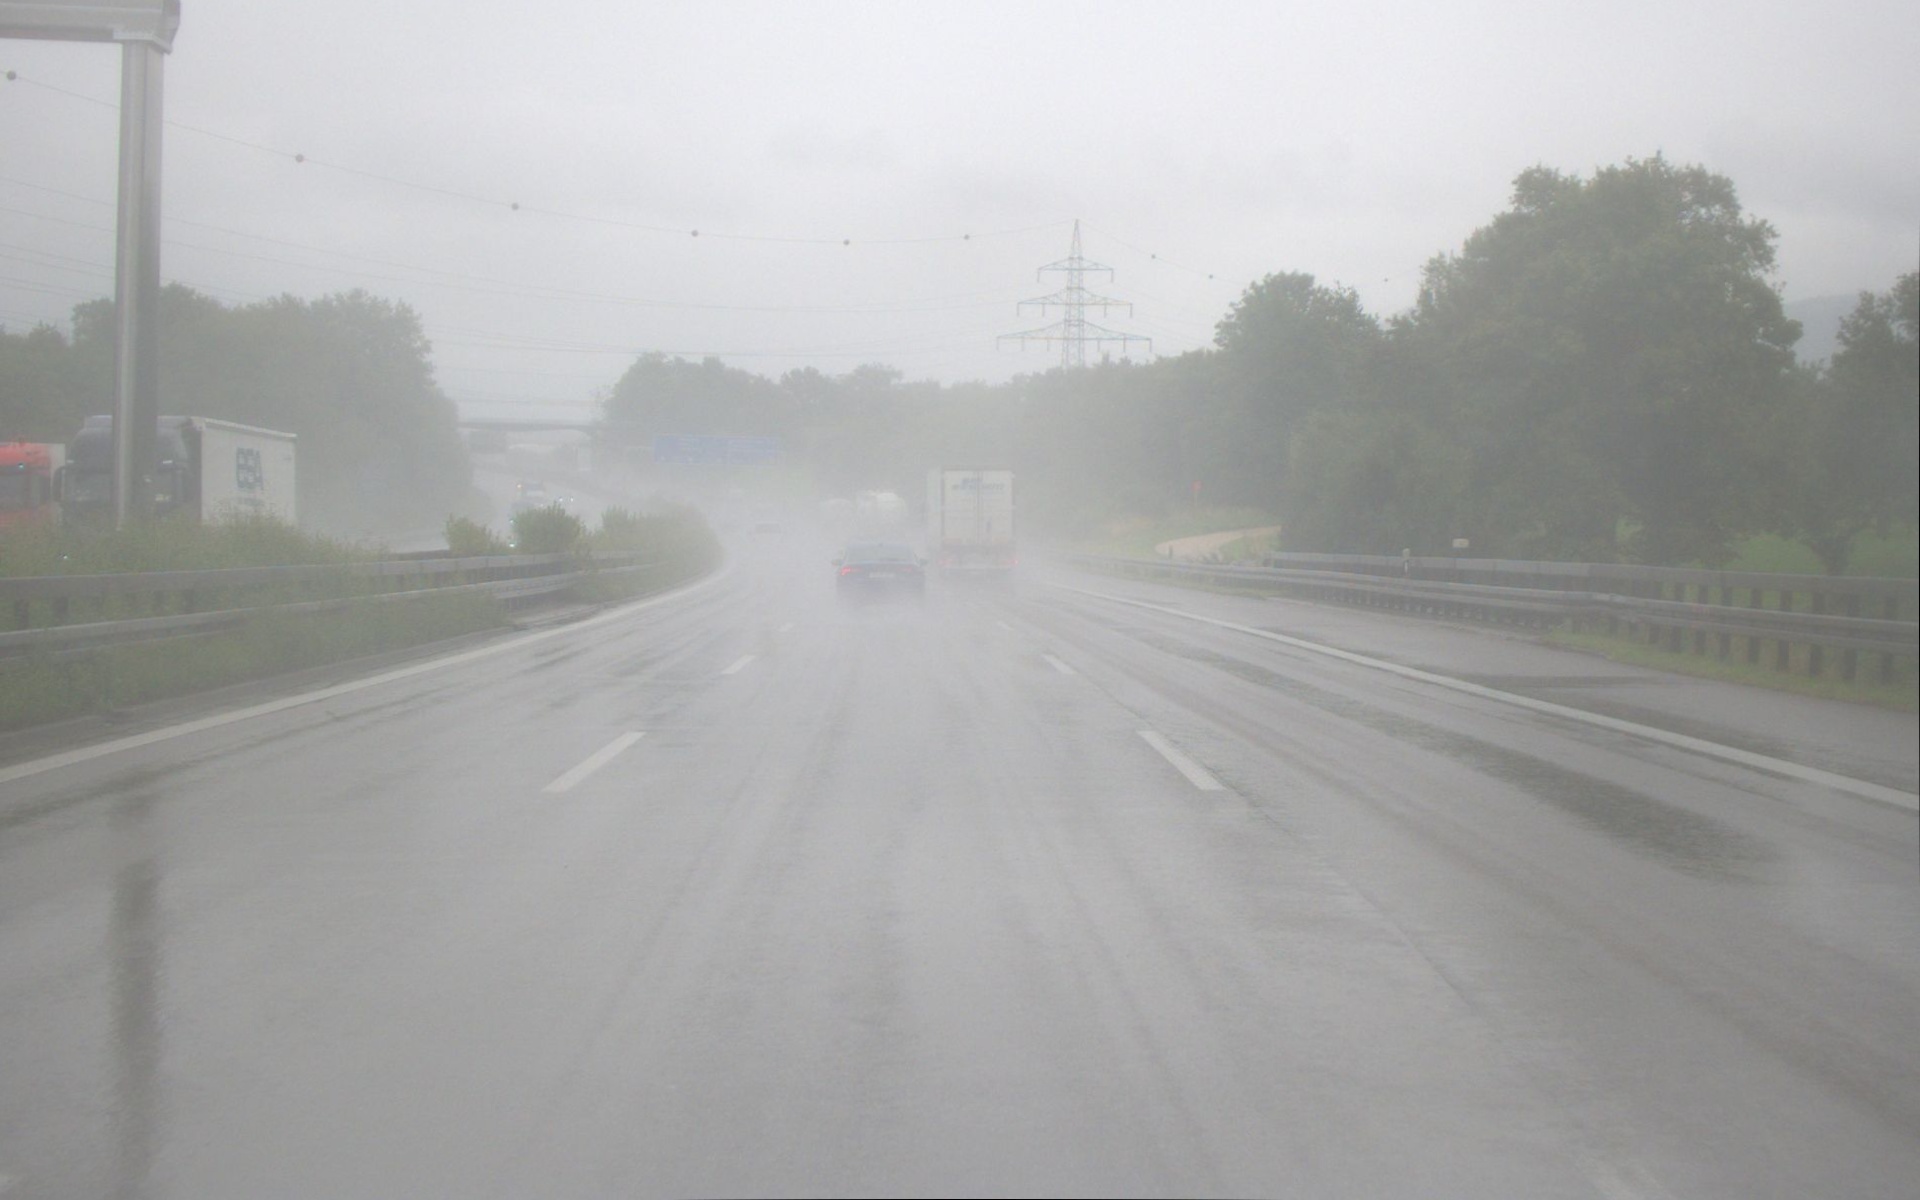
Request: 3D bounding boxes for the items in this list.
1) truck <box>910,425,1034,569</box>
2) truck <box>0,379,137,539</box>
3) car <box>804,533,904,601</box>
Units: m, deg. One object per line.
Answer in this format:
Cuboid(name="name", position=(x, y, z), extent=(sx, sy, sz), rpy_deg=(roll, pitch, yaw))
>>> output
Cuboid(name="truck", position=(0.512, -3.861, 127.886), extent=(4.256, 4.955, 17.342), rpy_deg=(0, 2, 1))
Cuboid(name="truck", position=(-22.685, -3.482, 84.953), extent=(2.908, 3.707, 6.509), rpy_deg=(4, 2, 0))
Cuboid(name="car", position=(-2.115, -0.688, 69.445), extent=(1.749, 1.208, 4.000), rpy_deg=(3, 2, 1))
